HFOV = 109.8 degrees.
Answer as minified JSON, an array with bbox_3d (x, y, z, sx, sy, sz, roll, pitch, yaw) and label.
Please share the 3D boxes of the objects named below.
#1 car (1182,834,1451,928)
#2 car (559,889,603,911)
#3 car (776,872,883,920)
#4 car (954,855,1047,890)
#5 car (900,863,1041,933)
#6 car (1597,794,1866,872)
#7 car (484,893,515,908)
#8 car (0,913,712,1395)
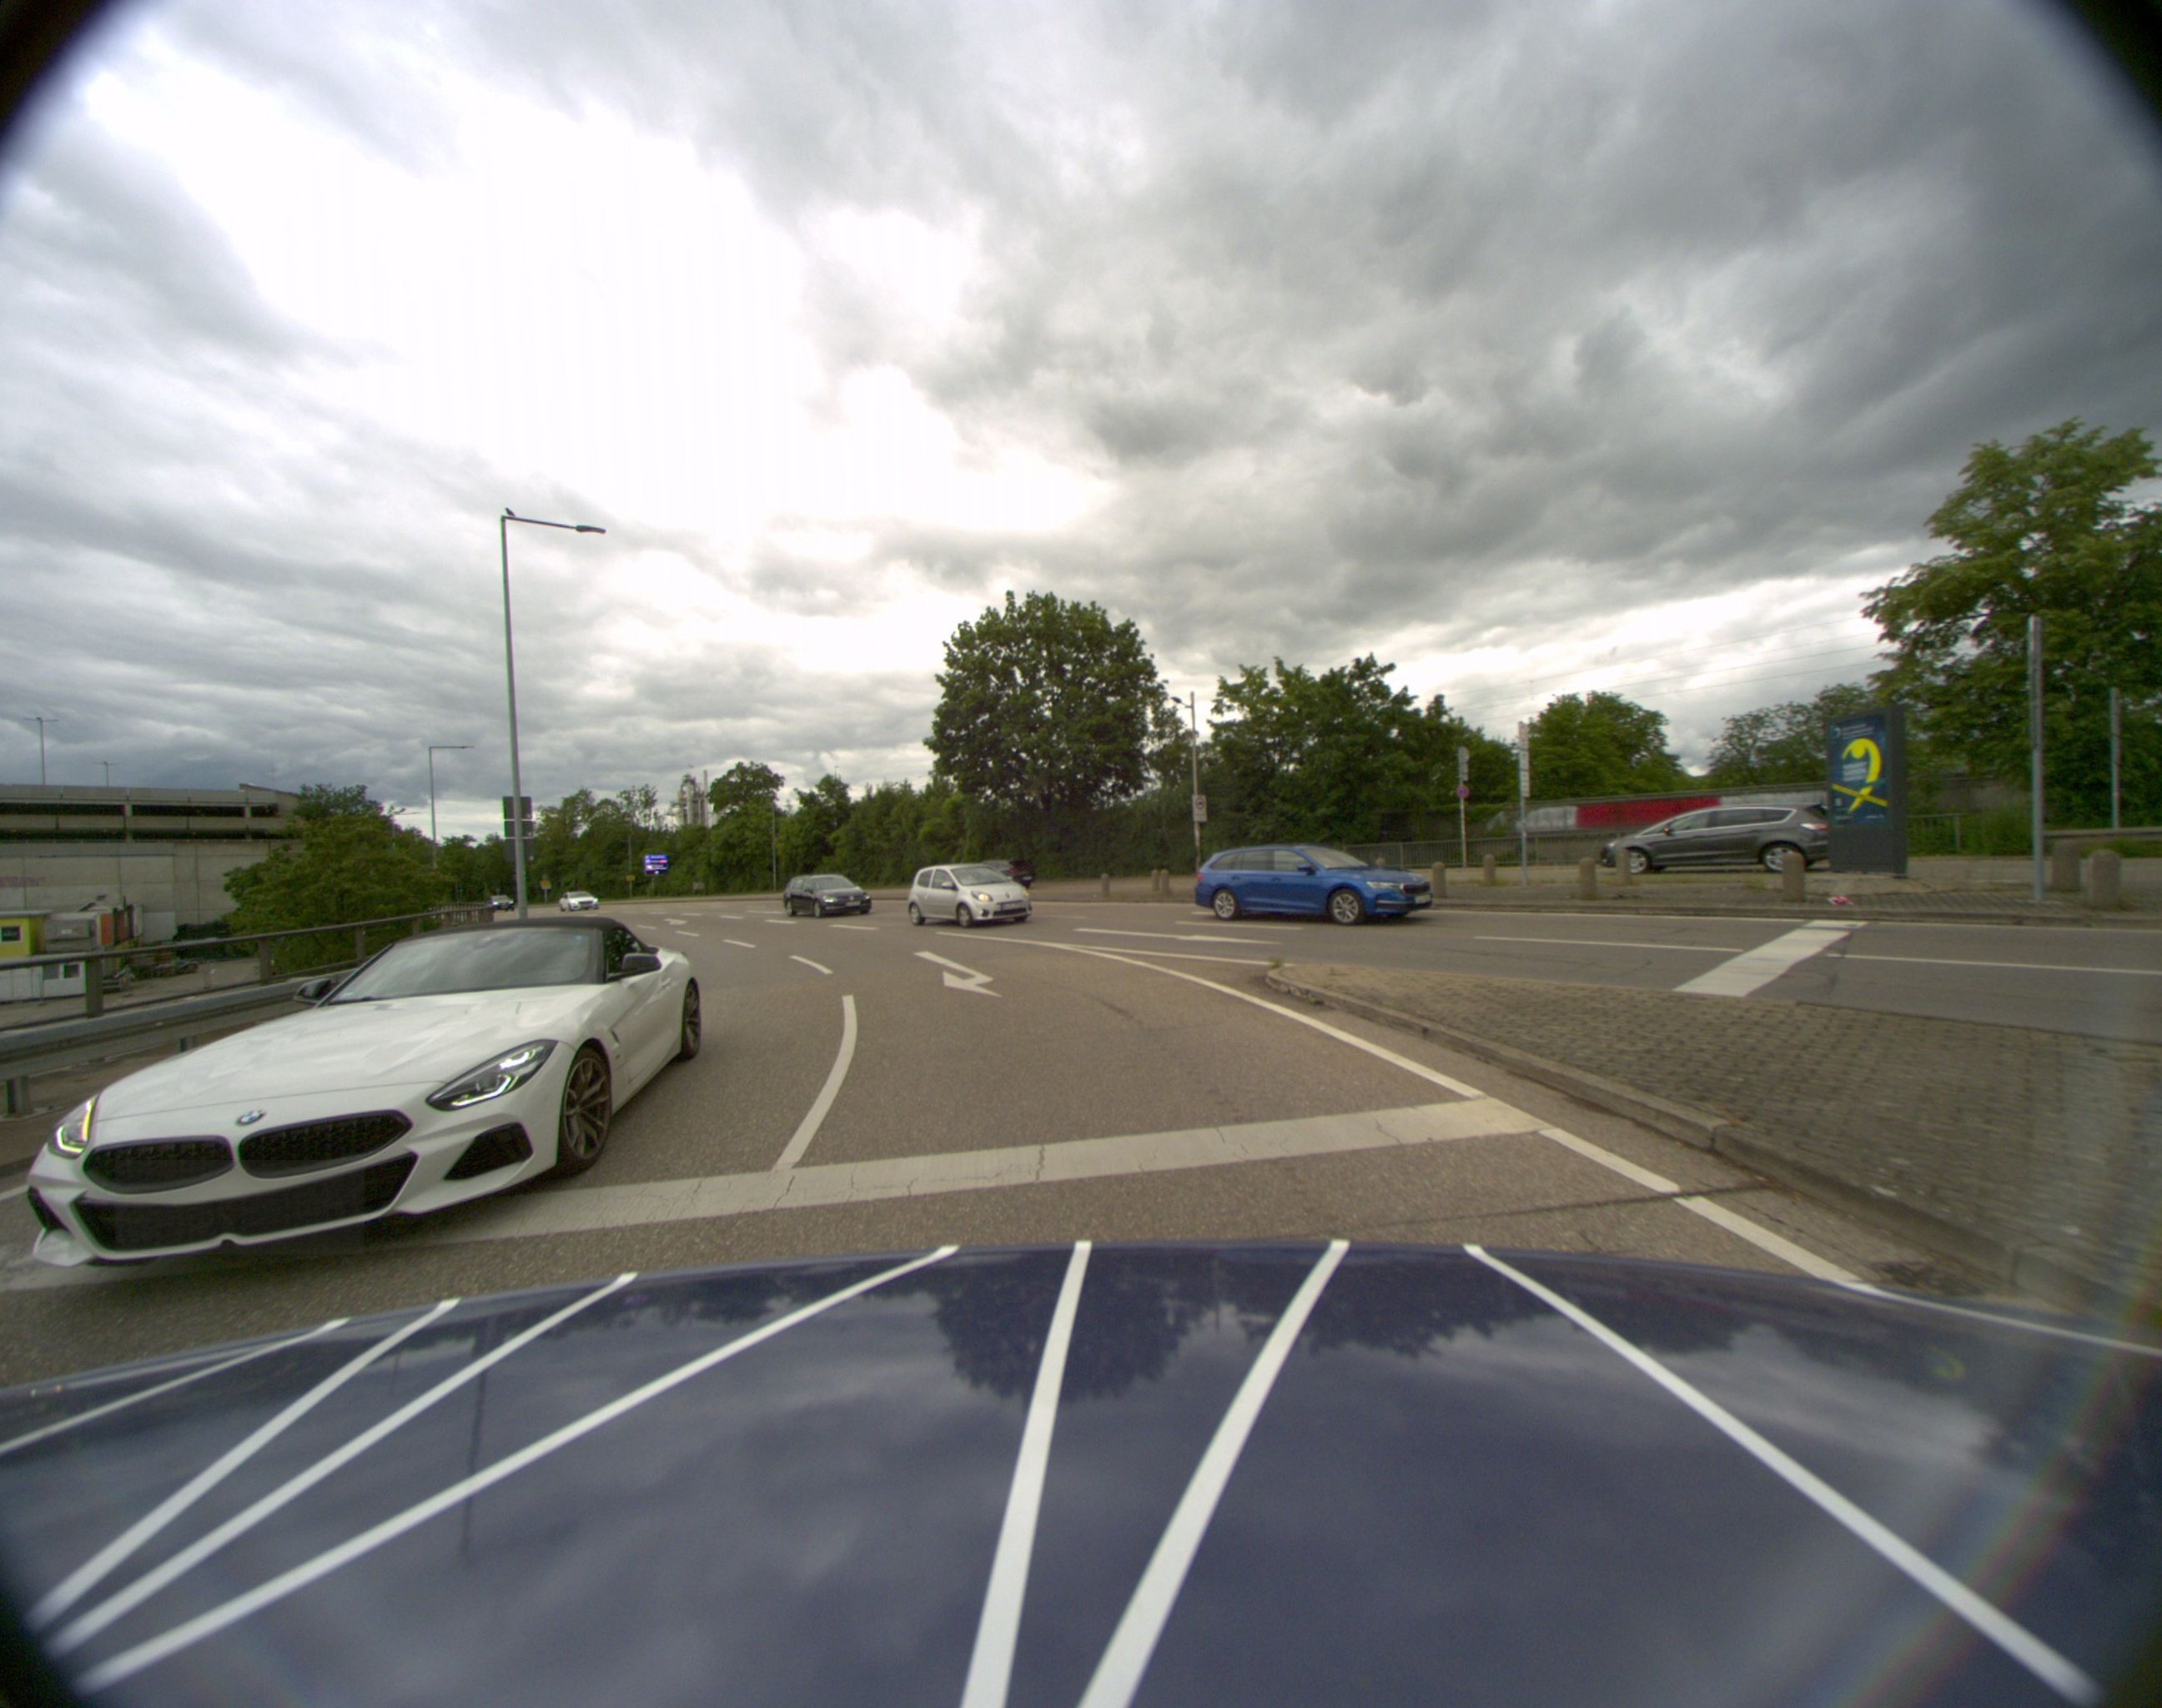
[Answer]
[{"bbox_3d":[4.235,0.504,14.368,1.846,1.408,4.569,-4,0,-37],"label":"car"},{"bbox_3d":[-37.684,3.479,57.226,4.327,1.408,1.869,-4,0,45],"label":"car"},{"bbox_3d":[-8.848,1.451,26.527,1.869,1.408,4.327,-4,0,-42],"label":"car"},{"bbox_3d":[-3.910,0.907,36.289,1.959,1.448,4.609,-4,0,-43],"label":"car"},{"bbox_3d":[-2.725,1.031,18.156,1.613,1.408,3.582,-4,0,-40],"label":"car"},{"bbox_3d":[15.946,-0.448,18.911,1.959,1.562,4.683,-4,0,-35],"label":"car"},{"bbox_3d":[-60.722,4.883,79.296,4.327,1.408,1.869,-4,0,45],"label":"car"},{"bbox_3d":[-3.849,1.245,4.874,1.812,1.284,4.258,-4,1,-15],"label":"car"}]
